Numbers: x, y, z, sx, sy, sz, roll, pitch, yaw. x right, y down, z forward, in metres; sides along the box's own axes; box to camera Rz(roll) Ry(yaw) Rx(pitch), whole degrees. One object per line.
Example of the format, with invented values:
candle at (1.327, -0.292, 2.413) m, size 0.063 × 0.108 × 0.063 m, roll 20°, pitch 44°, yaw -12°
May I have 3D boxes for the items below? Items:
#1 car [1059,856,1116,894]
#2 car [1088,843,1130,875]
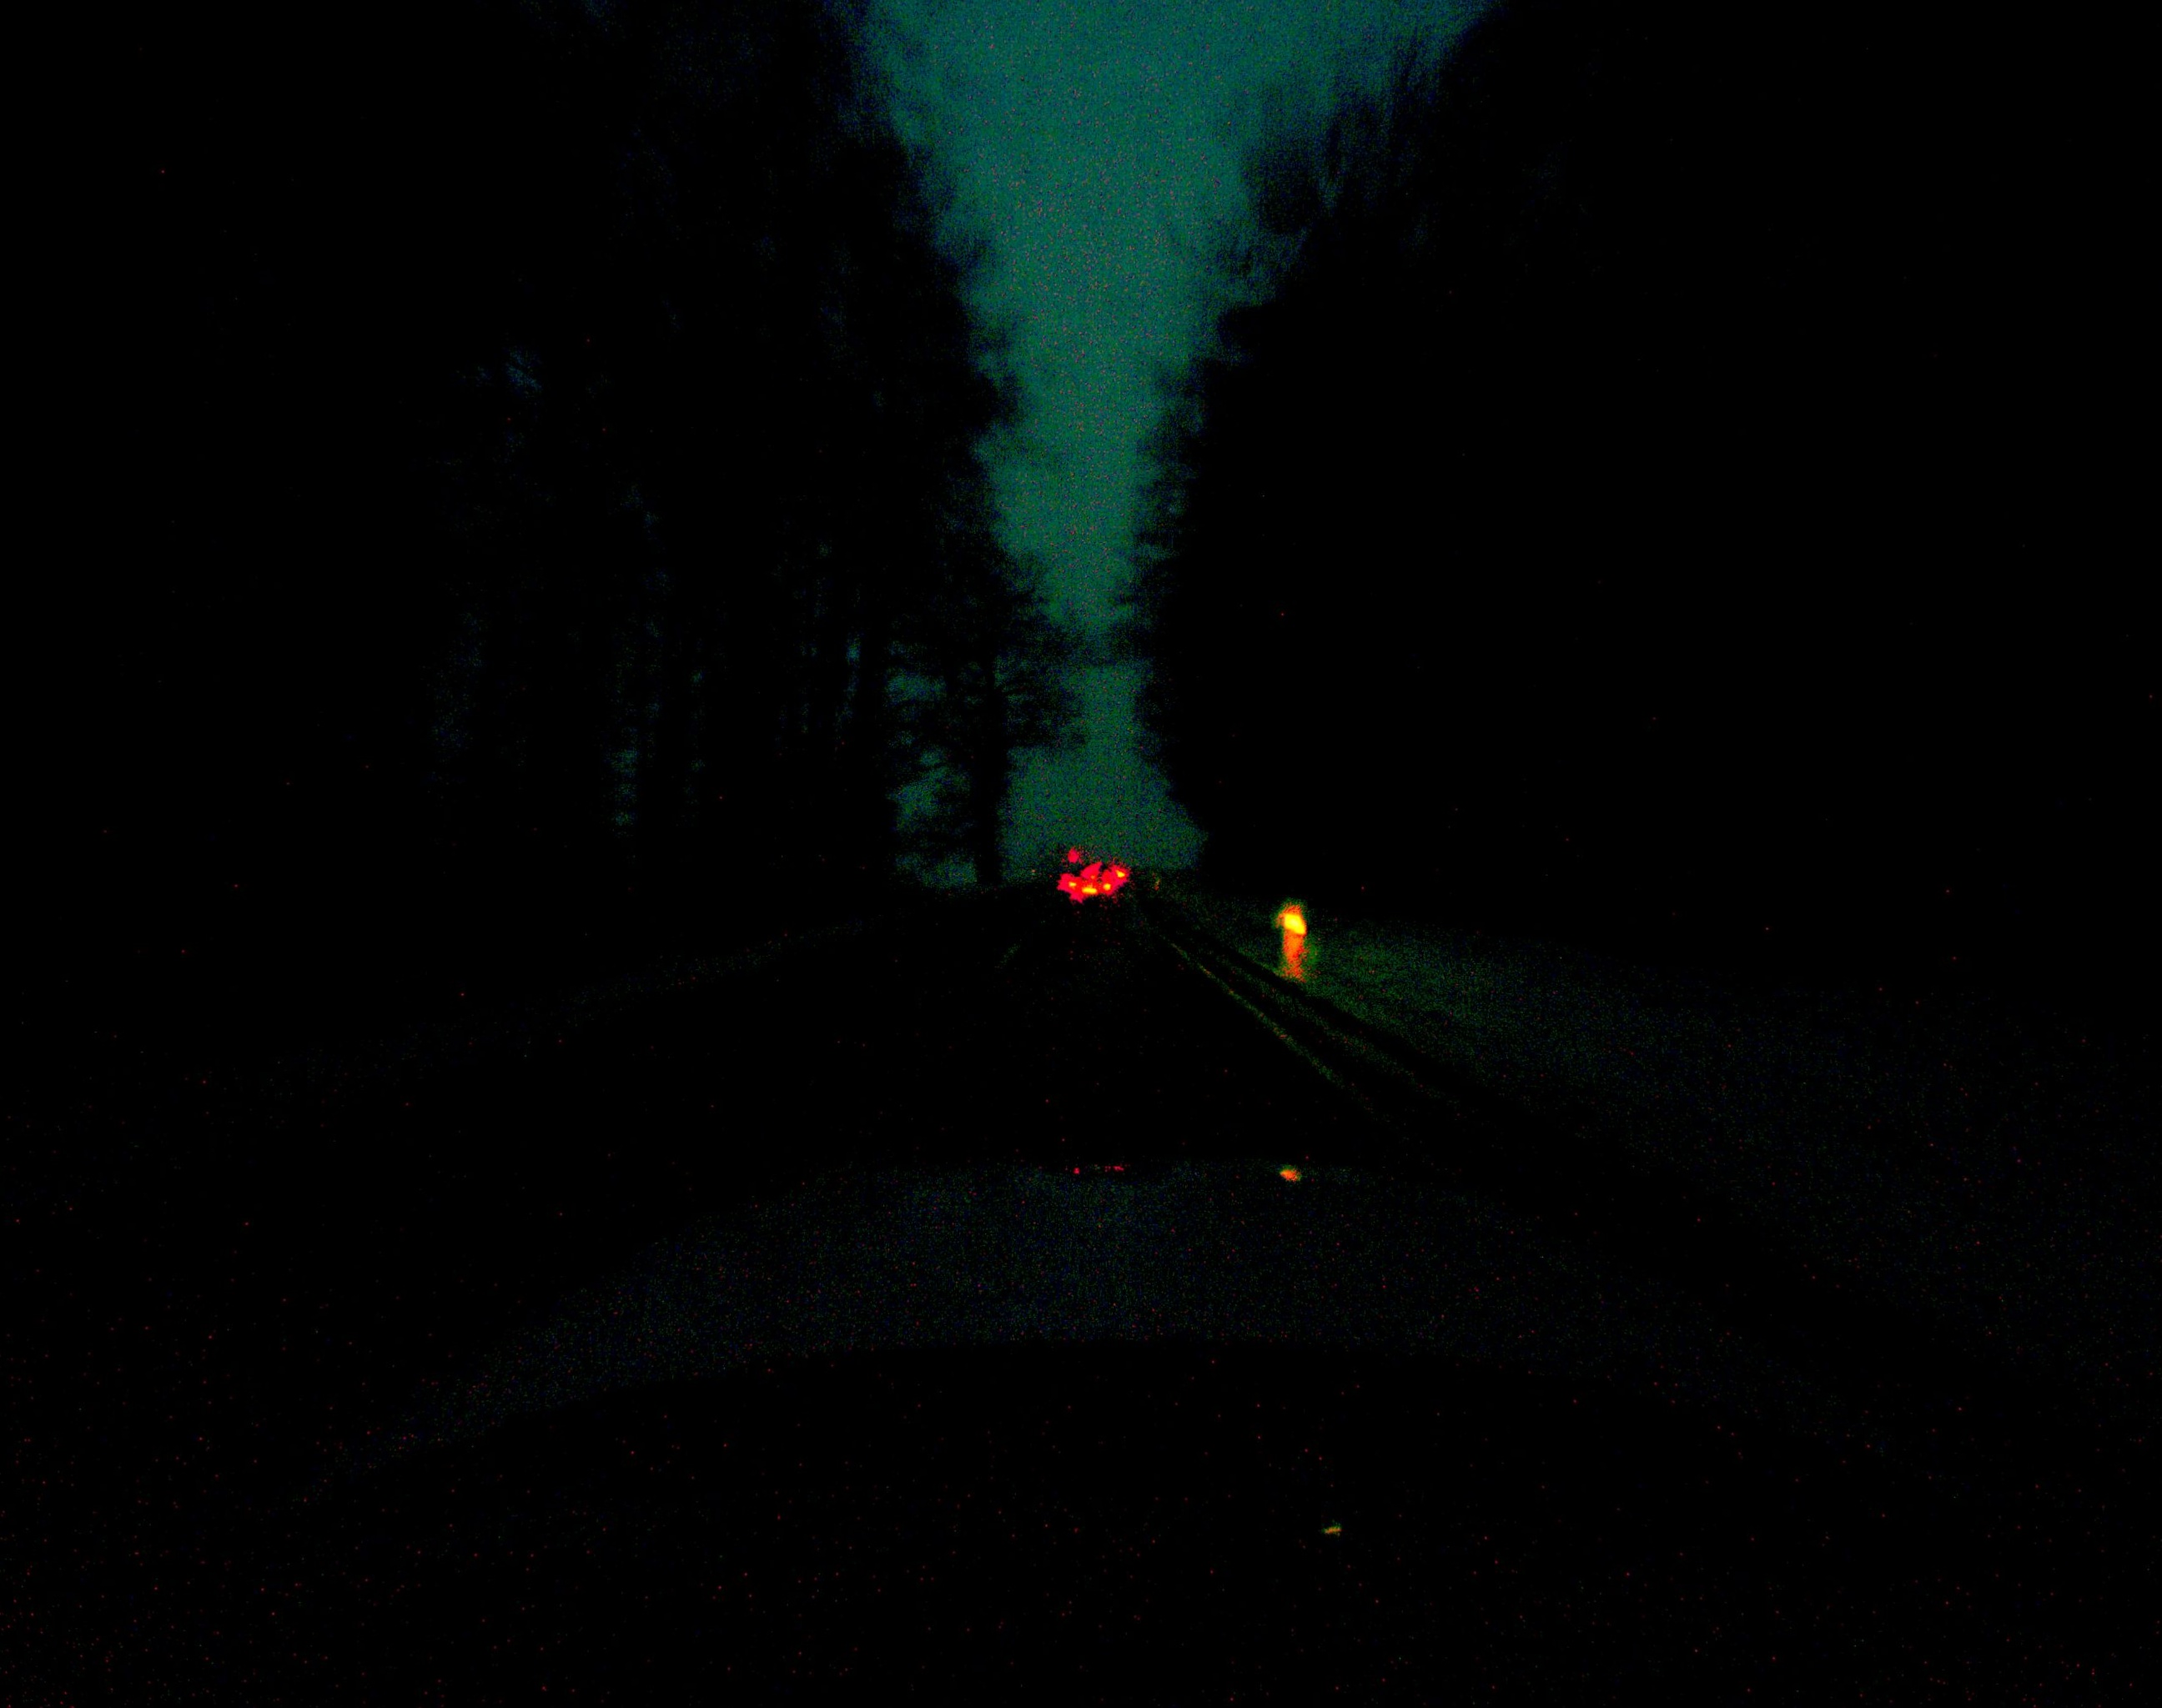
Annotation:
car at (0.190, 0.802, 32.361) m, size 1.942 × 1.381 × 3.994 m, roll 0°, pitch 0°, yaw -4°
car at (1.576, 0.285, 47.696) m, size 1.990 × 1.783 × 3.993 m, roll 2°, pitch 0°, yaw -5°
